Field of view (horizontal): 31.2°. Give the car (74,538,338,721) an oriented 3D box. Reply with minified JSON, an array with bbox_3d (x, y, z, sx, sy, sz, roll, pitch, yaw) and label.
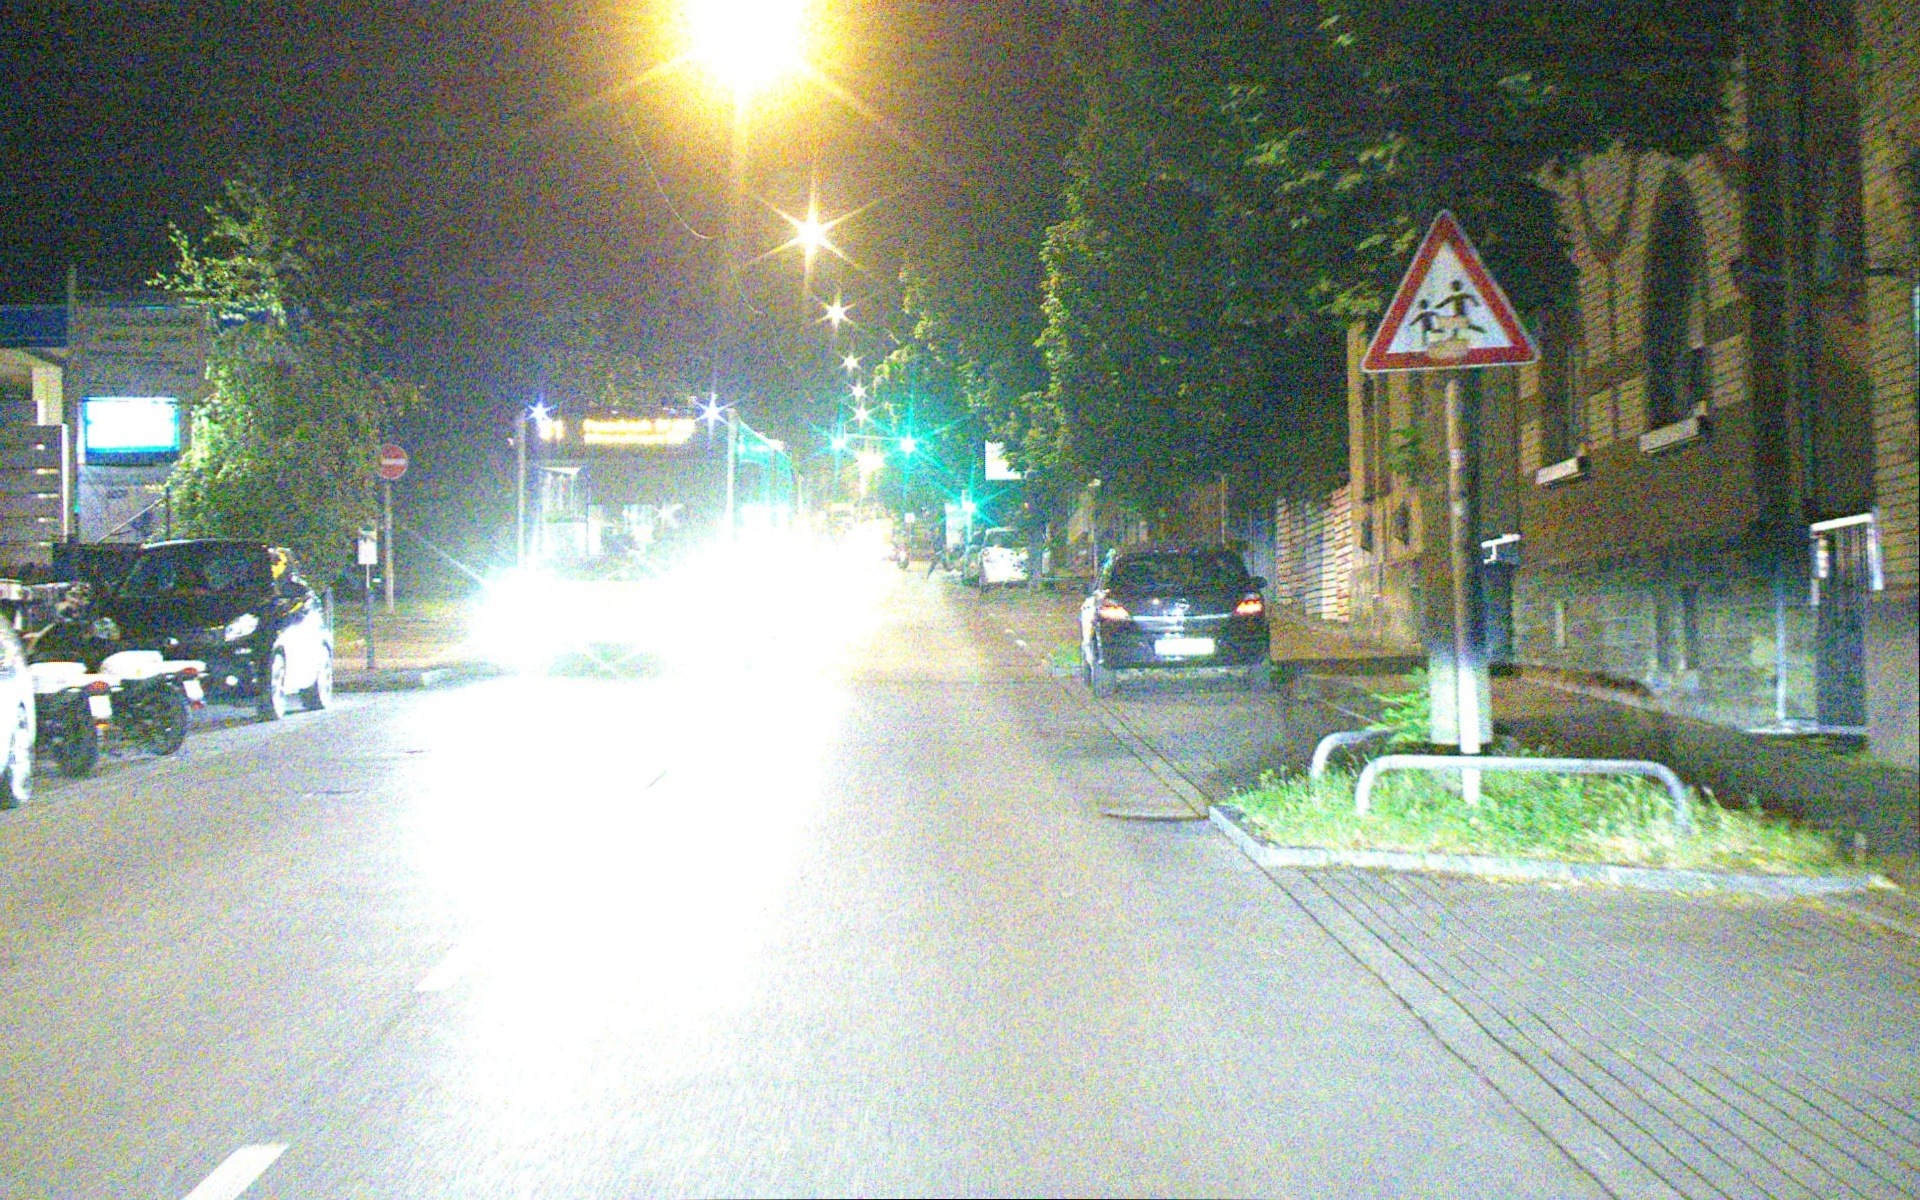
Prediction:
[{"bbox_3d":[-6.515,0.235,29.943,1.638,1.493,2.765,-1,0,1],"label":"car"}]

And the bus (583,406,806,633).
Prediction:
[{"bbox_3d":[-3.873,-1.222,51.772,2.837,3.166,7.661,0,1,-1],"label":"bus"}]

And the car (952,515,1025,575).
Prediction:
[{"bbox_3d":[0.785,-1.557,95.932,1.868,1.521,4.150,-3,2,-1],"label":"car"}]

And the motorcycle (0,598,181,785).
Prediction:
[{"bbox_3d":[-6.051,0.574,22.702,0.714,1.143,2.208,-3,2,-43],"label":"motorcycle"}]

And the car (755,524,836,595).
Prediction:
[{"bbox_3d":[-3.544,-0.894,74.422,1.645,1.417,3.871,-2,2,-2],"label":"car"}]

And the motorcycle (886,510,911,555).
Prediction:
[{"bbox_3d":[-2.402,-2.645,134.618,0.931,1.746,2.625,0,0,-1],"label":"motorcycle"}]

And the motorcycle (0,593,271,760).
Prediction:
[{"bbox_3d":[-6.034,0.538,24.721,2.205,1.127,0.714,-1,2,32],"label":"motorcycle"}]

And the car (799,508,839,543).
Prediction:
[{"bbox_3d":[-7.119,-3.743,173.846,1.944,1.711,4.000,0,0,-1],"label":"car"}]

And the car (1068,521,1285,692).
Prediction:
[{"bbox_3d":[2.067,0.013,33.779,1.763,1.471,4.081,-3,2,-1],"label":"car"}]

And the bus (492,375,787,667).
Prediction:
[{"bbox_3d":[-3.750,-0.999,42.674,2.837,3.166,10.499,0,1,-1],"label":"bus"}]

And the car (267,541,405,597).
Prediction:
[{"bbox_3d":[-16.604,-0.815,91.451,3.262,1.448,1.791,0,0,32],"label":"car"}]

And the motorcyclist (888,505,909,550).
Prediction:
[{"bbox_3d":[-2.405,-2.848,134.624,0.848,1.746,0.805,0,0,-1],"label":"motorcyclist"}]

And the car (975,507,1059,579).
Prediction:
[{"bbox_3d":[1.342,-1.395,82.468,1.812,1.588,4.274,-3,2,-1],"label":"car"}]

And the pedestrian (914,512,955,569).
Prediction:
[{"bbox_3d":[-0.784,-1.829,105.591,0.924,1.694,0.767,1,2,-33],"label":"pedestrian"}]

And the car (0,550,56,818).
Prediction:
[{"bbox_3d":[-6.223,0.533,18.431,1.704,1.486,4.228,-2,2,-2],"label":"car"}]
